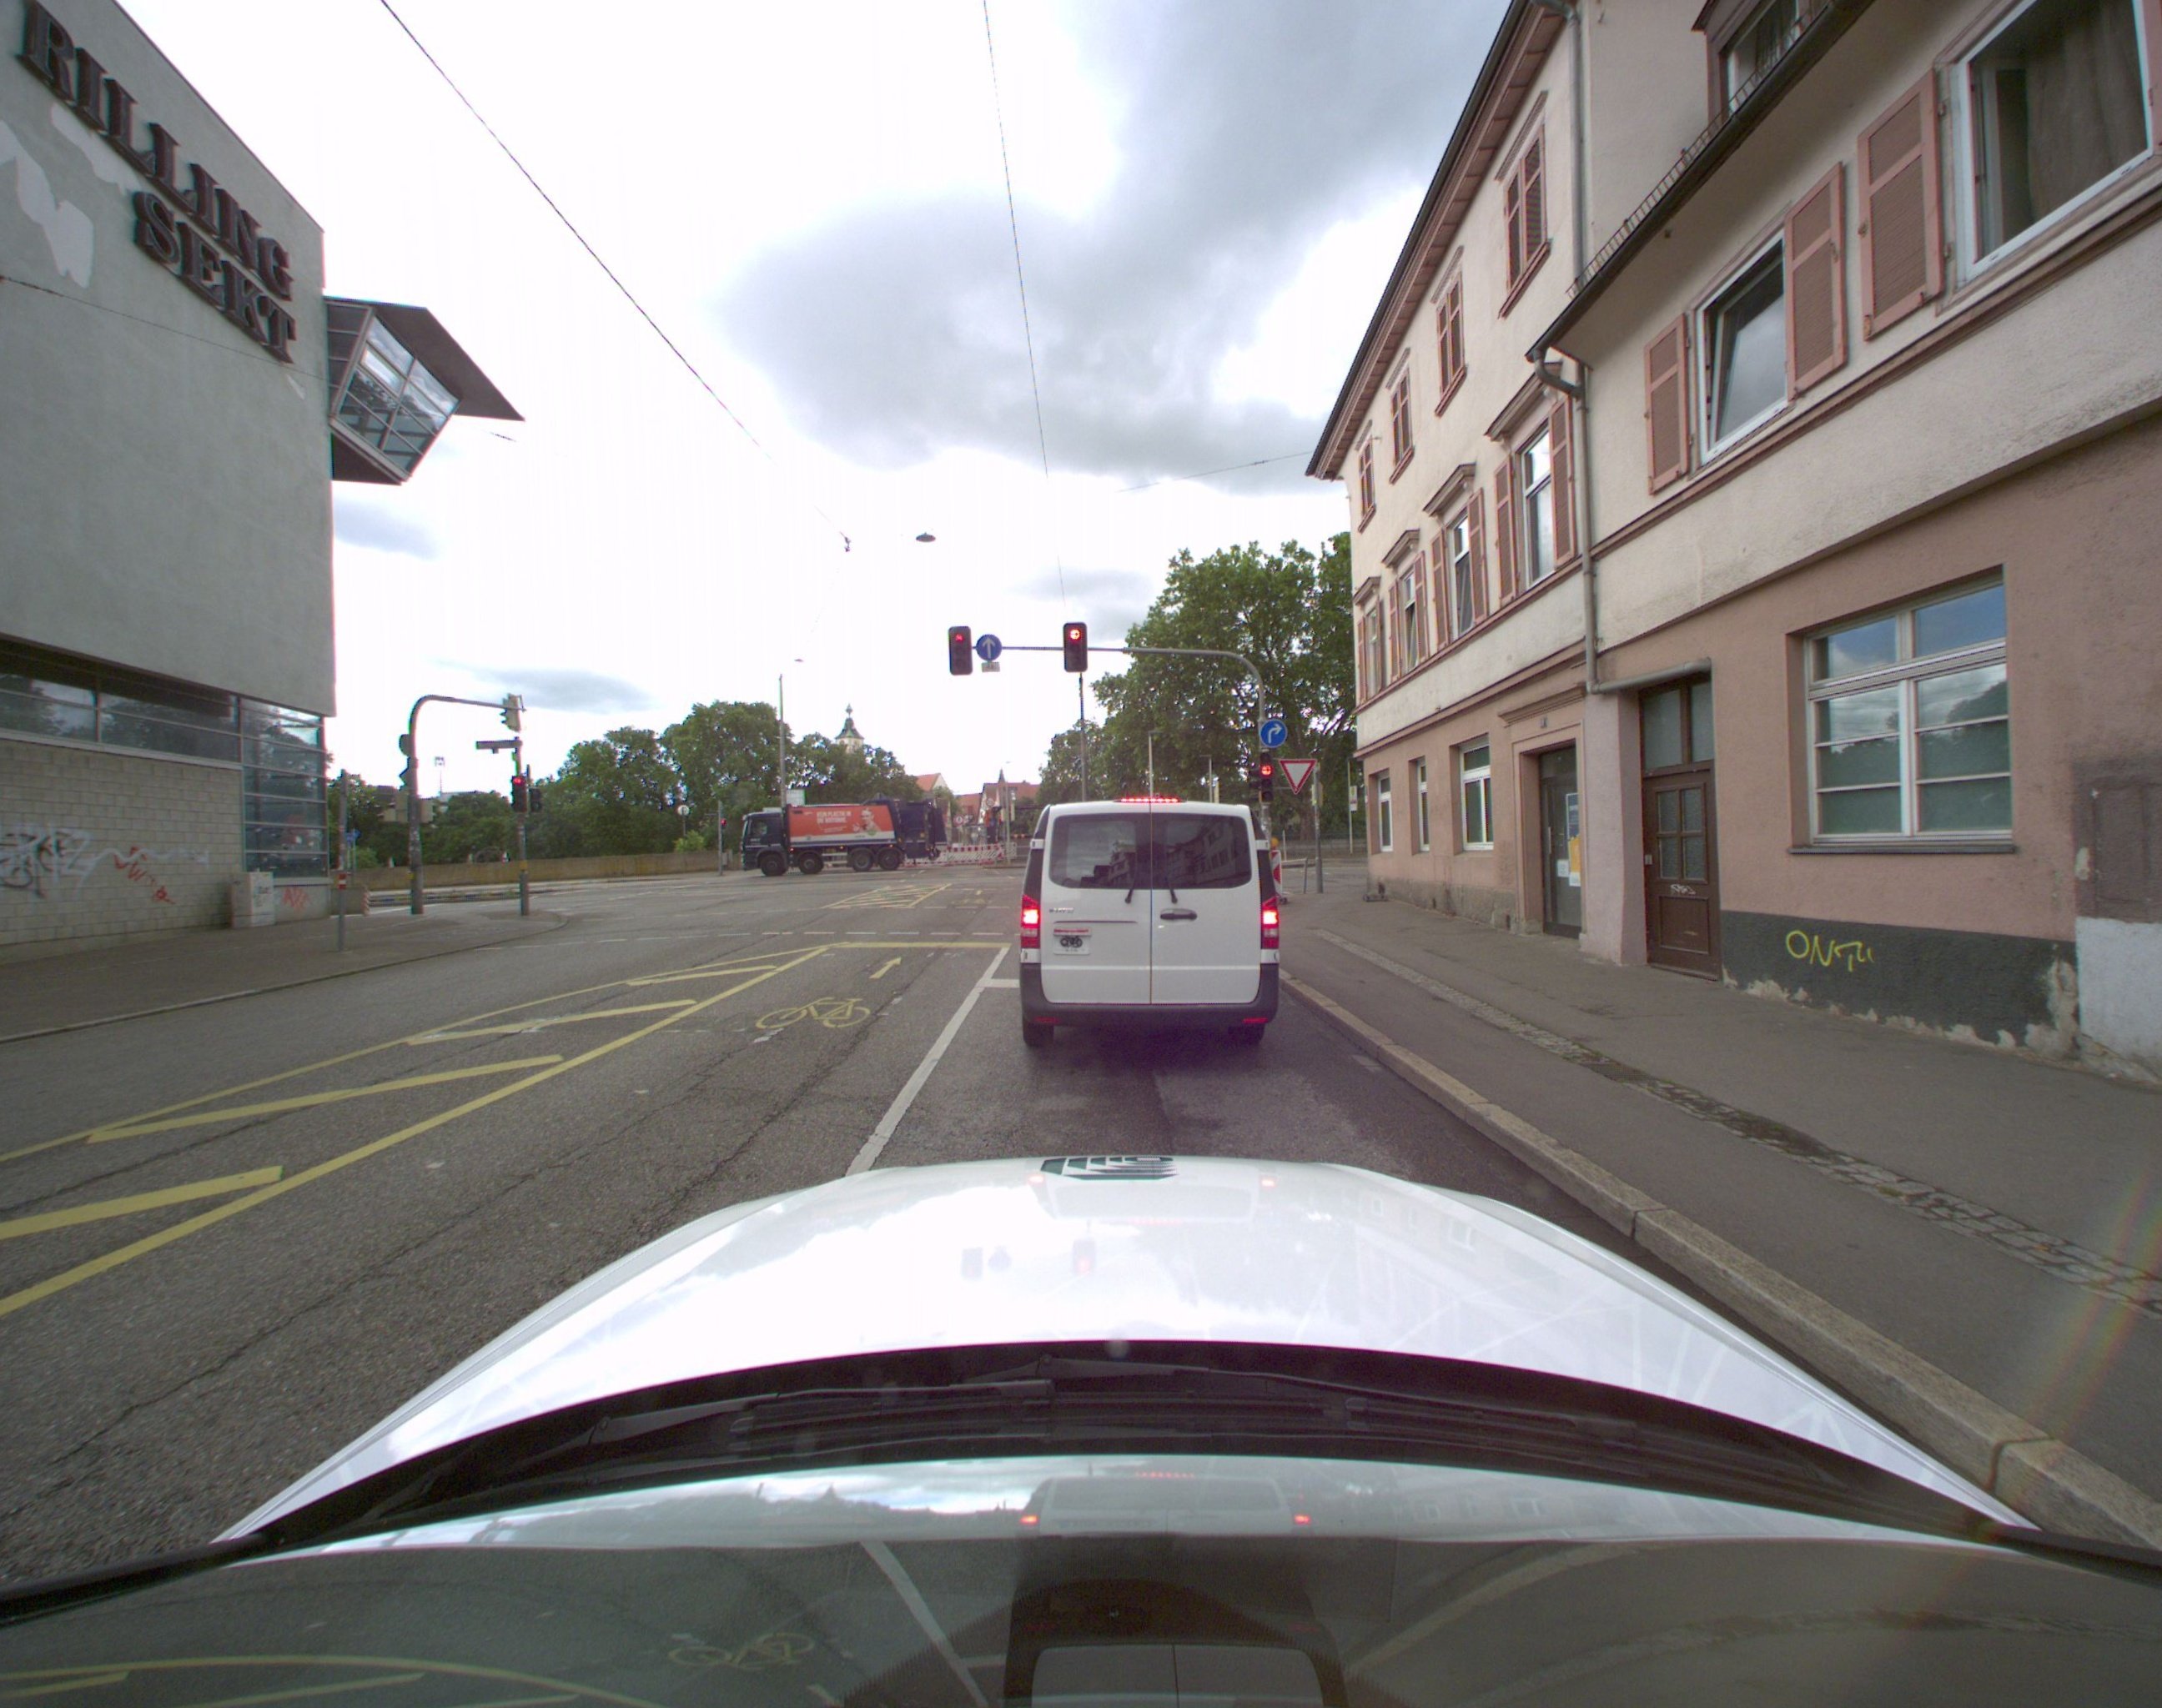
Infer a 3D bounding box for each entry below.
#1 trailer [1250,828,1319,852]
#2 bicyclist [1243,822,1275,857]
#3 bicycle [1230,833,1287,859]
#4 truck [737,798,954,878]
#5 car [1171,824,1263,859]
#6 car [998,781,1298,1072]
[{"bbox_3d":[11.216,-0.773,45.039,3.198,1.158,1.995,-2,0,-8],"label":"trailer"},{"bbox_3d":[11.215,-0.909,51.456,1.565,2.156,1.242,-2,0,-12],"label":"bicyclist"},{"bbox_3d":[11.203,-0.491,51.437,3.147,1.569,1.464,-2,0,-12],"label":"bicycle"},{"bbox_3d":[-11.657,-0.847,41.158,10.196,3.696,2.261,-1,0,-13],"label":"truck"},{"bbox_3d":[7.403,-0.681,44.531,4.515,1.634,1.995,-3,0,-7],"label":"car"},{"bbox_3d":[0.466,0.423,7.565,1.987,1.922,4.249,-1,2,0],"label":"car"}]
